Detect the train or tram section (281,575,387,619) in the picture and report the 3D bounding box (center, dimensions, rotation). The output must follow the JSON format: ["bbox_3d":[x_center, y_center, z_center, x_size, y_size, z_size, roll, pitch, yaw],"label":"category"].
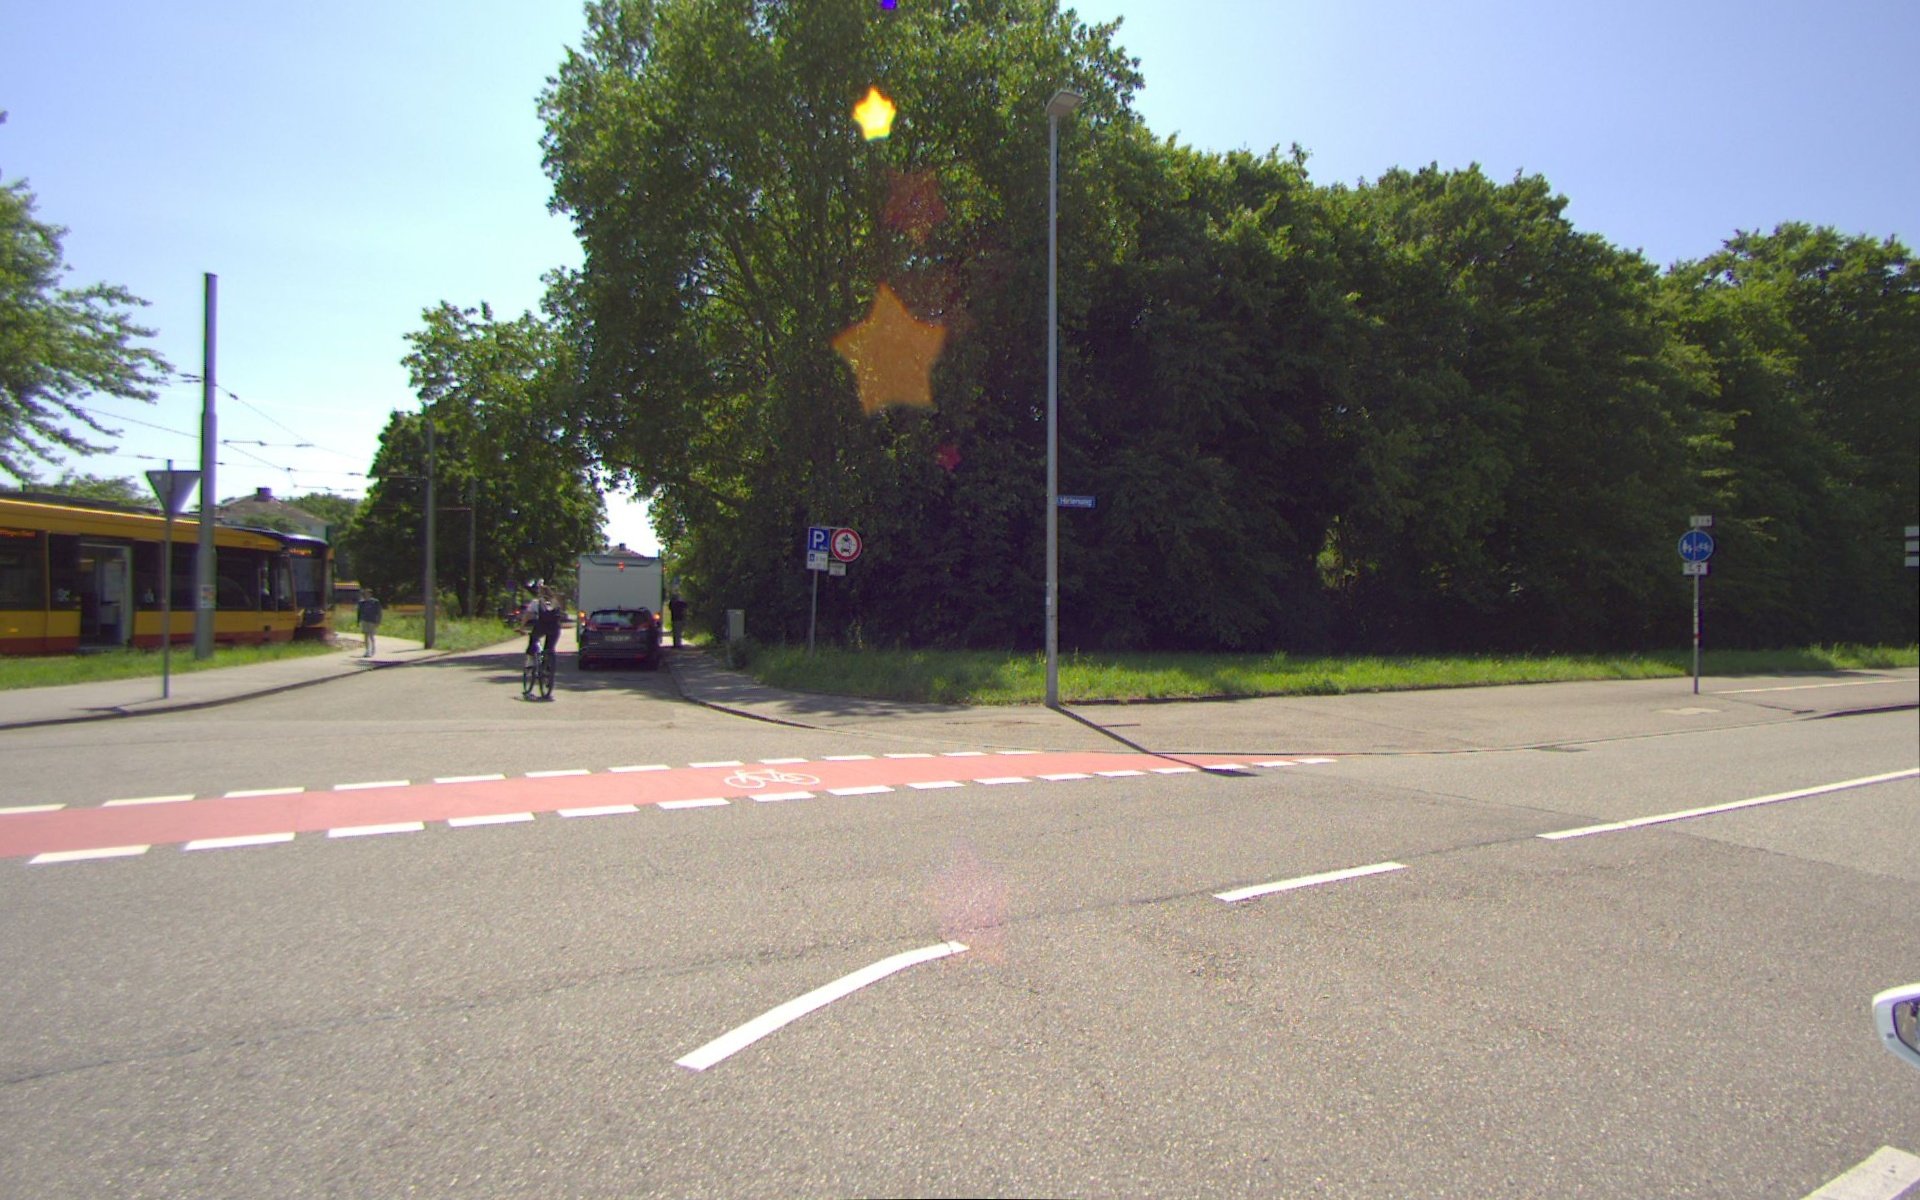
[{"bbox_3d":[-65.073,-0.167,104.947,2.966,4.311,12.752,0,-1,0],"label":"train or tram section"}]

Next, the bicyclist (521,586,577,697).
[{"bbox_3d":[-6.658,0.656,16.267,0.660,1.729,0.761,0,1,-36],"label":"bicyclist"}]

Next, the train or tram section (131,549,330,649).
[{"bbox_3d":[-31.924,0.085,43.531,13.967,3.809,3.015,-1,-2,37],"label":"train or tram section"}]

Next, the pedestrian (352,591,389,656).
[{"bbox_3d":[-16.018,0.616,27.301,0.845,1.732,0.803,0,0,-29],"label":"pedestrian"}]

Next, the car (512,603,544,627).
[{"bbox_3d":[-31.054,1.075,72.333,1.798,1.639,4.197,0,0,-19],"label":"car"}]

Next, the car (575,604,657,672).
[{"bbox_3d":[-8.294,0.860,24.027,1.642,1.436,4.291,3,-1,-21],"label":"car"}]

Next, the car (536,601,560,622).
[{"bbox_3d":[-33.650,0.917,82.124,1.612,1.639,3.851,0,0,-19],"label":"car"}]

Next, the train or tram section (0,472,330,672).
[{"bbox_3d":[-19.708,-0.465,21.657,2.965,3.809,14.053,0,-1,2],"label":"train or tram section"}]

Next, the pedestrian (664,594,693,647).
[{"bbox_3d":[-9.375,0.677,33.479,0.647,1.750,0.673,1,0,38],"label":"pedestrian"}]

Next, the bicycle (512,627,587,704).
[{"bbox_3d":[-6.702,1.024,16.335,0.665,1.069,2.024,0,1,-36],"label":"bicycle"}]

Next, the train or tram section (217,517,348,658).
[{"bbox_3d":[-22.819,-0.171,33.869,2.995,3.809,14.059,1,-2,-34],"label":"train or tram section"}]

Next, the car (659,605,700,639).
[{"bbox_3d":[-14.305,1.093,51.376,1.866,1.639,4.204,1,0,-14],"label":"car"}]

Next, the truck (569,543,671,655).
[{"bbox_3d":[-10.381,0.064,30.526,2.529,2.948,7.309,2,-1,-20],"label":"truck"}]

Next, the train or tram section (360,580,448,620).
[{"bbox_3d":[-64.880,0.110,117.691,2.966,4.311,12.753,0,-1,1],"label":"train or tram section"}]
